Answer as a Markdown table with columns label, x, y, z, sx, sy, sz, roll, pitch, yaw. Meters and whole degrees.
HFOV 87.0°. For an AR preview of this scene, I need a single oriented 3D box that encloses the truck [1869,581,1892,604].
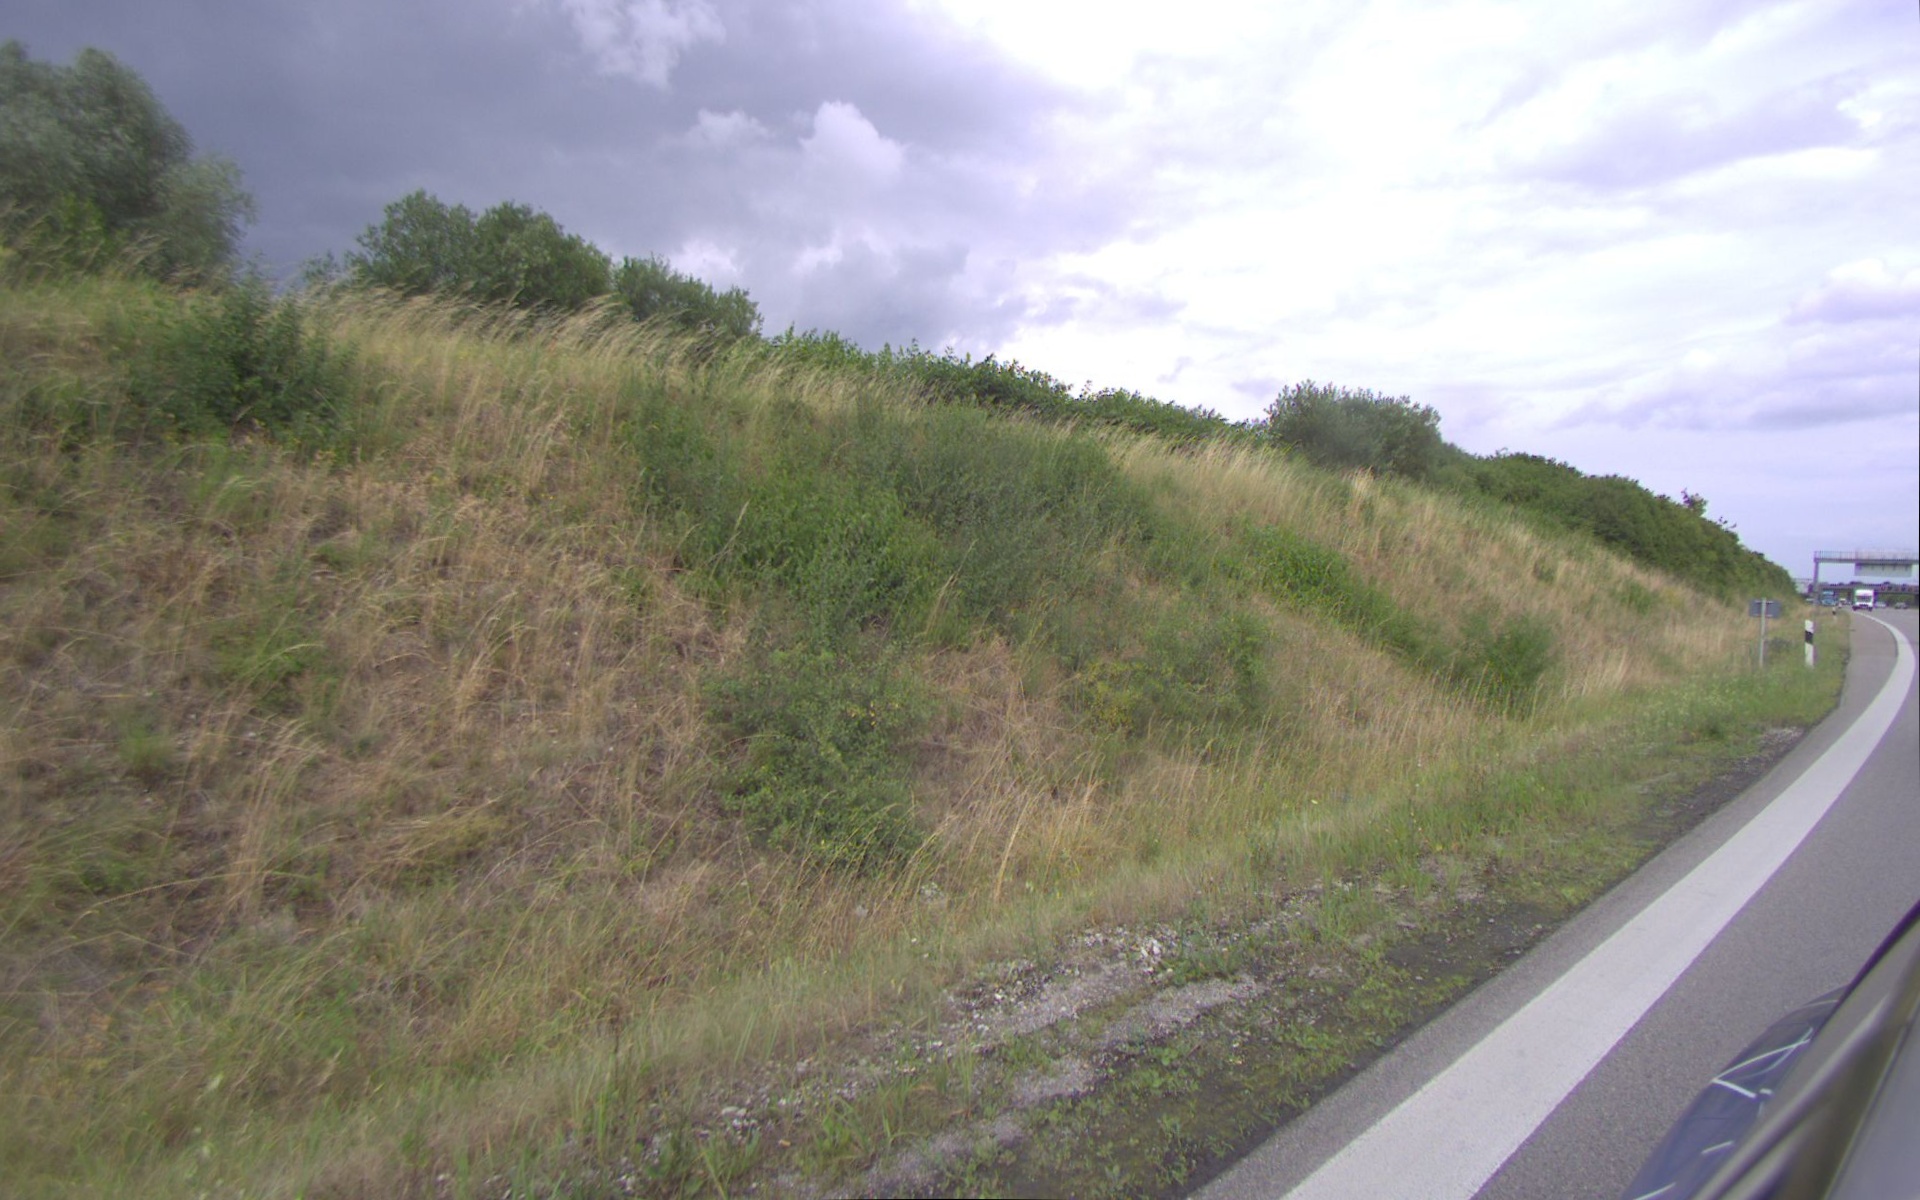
| label | x | y | z | sx | sy | sz | roll | pitch | yaw |
| --- | --- | --- | --- | --- | --- | --- | --- | --- | --- |
| truck | 136.759 | -1.057 | 150.353 | 2.441 | 3.275 | 7.081 | 2 | 2 | 42 |
